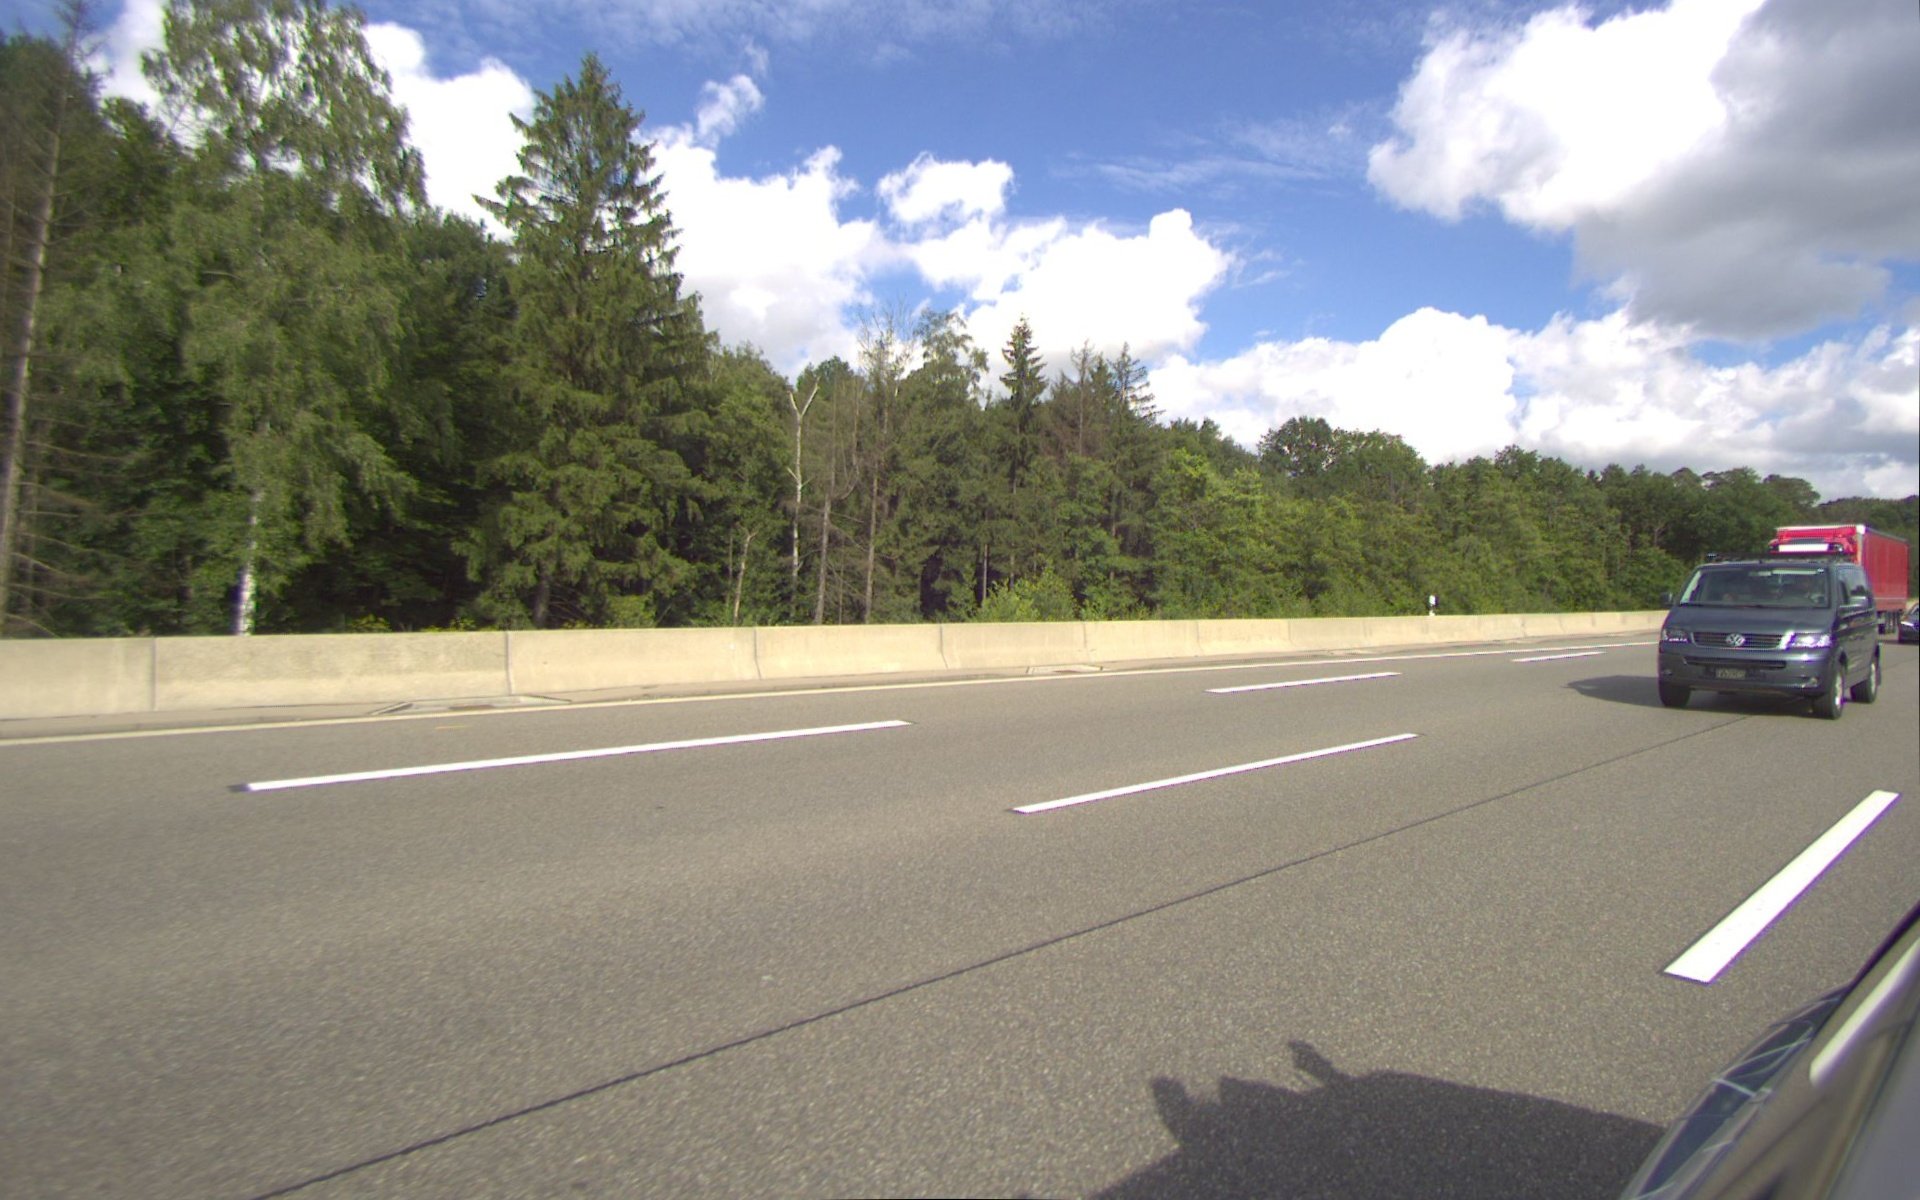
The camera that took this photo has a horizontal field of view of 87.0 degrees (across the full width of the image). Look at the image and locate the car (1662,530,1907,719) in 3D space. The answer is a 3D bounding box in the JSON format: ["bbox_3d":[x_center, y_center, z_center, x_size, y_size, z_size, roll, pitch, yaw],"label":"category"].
[{"bbox_3d":[11.614,0.263,14.116,4.876,2.193,1.925,0,1,-42],"label":"car"}]

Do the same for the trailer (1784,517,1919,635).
[{"bbox_3d":[36.735,-0.939,41.329,14.129,4.171,2.529,-1,1,-42],"label":"trailer"}]

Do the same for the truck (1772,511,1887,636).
[{"bbox_3d":[31.695,-0.935,36.849,4.573,4.255,2.530,-1,1,-41],"label":"truck"}]

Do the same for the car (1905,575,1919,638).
[{"bbox_3d":[32.792,0.208,33.315,3.929,2.039,1.997,0,0,-40],"label":"car"}]
